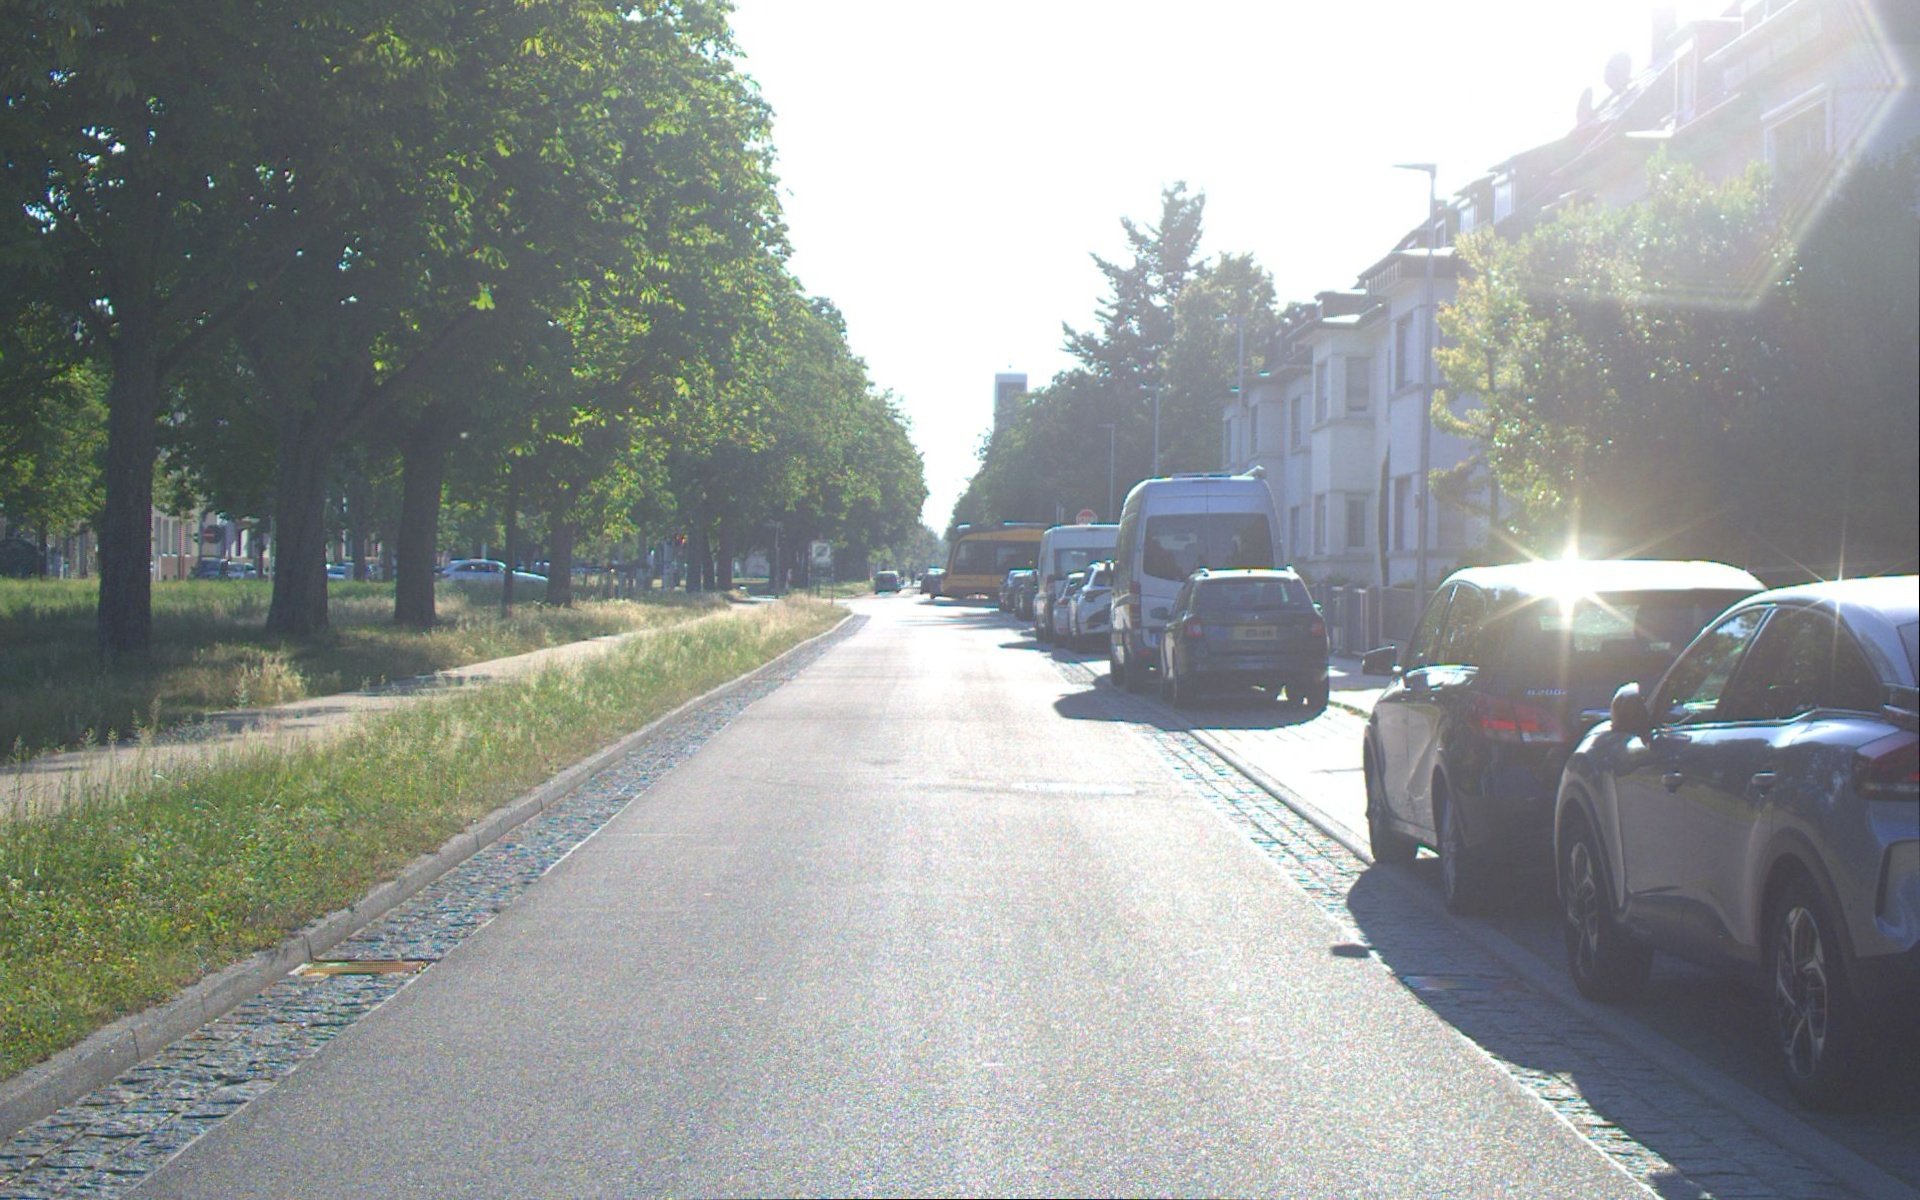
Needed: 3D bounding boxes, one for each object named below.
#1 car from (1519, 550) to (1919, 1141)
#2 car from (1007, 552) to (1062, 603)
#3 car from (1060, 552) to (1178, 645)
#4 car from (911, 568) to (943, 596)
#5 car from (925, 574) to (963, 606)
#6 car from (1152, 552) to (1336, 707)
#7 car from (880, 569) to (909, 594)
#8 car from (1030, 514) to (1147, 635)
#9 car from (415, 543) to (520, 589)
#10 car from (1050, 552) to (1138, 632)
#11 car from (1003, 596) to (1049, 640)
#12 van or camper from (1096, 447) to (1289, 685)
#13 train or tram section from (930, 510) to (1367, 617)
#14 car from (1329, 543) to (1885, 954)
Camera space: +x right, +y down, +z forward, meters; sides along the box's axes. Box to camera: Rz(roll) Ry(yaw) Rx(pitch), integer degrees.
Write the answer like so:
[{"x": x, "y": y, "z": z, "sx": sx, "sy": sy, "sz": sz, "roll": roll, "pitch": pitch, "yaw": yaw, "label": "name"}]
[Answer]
[{"x": 3.142, "y": 0.646, "z": 11.274, "sx": 1.717, "sy": 1.568, "sz": 4.210, "roll": -1, "pitch": 0, "yaw": -3, "label": "car"}, {"x": 2.289, "y": -0.689, "z": 106.308, "sx": 1.650, "sy": 1.525, "sz": 3.851, "roll": 0, "pitch": 0, "yaw": 1, "label": "car"}, {"x": 2.882, "y": -0.040, "z": 63.073, "sx": 1.837, "sy": 1.630, "sz": 4.131, "roll": 0, "pitch": 0, "yaw": -2, "label": "car"}, {"x": -2.049, "y": -1.115, "z": 212.516, "sx": 1.863, "sy": 1.591, "sz": 3.870, "roll": 3, "pitch": 0, "yaw": -1, "label": "car"}, {"x": -0.852, "y": -0.505, "z": 180.618, "sx": 1.863, "sy": 1.591, "sz": 3.894, "roll": 3, "pitch": 0, "yaw": -1, "label": "car"}, {"x": 3.072, "y": 0.302, "z": 37.900, "sx": 1.663, "sy": 1.587, "sz": 4.086, "roll": -1, "pitch": 0, "yaw": 0, "label": "car"}, {"x": -4.410, "y": -1.222, "z": 230.597, "sx": 1.863, "sy": 1.591, "sz": 3.870, "roll": 3, "pitch": 0, "yaw": -1, "label": "car"}, {"x": 2.752, "y": -0.543, "z": 74.638, "sx": 2.126, "sy": 2.524, "sz": 5.189, "roll": 0, "pitch": 0, "yaw": -2, "label": "car"}, {"x": -21.142, "y": -1.460, "z": 147.469, "sx": 4.345, "sy": 1.758, "sz": 2.000, "roll": 3, "pitch": 0, "yaw": -8, "label": "car"}, {"x": 2.631, "y": -0.173, "z": 68.027, "sx": 1.650, "sy": 1.525, "sz": 3.851, "roll": 0, "pitch": 0, "yaw": 1, "label": "car"}, {"x": 2.362, "y": 0.620, "z": 123.429, "sx": 1.650, "sy": 1.525, "sz": 3.851, "roll": 0, "pitch": 0, "yaw": 1, "label": "car"}, {"x": 2.916, "y": -0.384, "z": 44.322, "sx": 1.943, "sy": 2.768, "sz": 5.939, "roll": 3, "pitch": -1, "yaw": 0, "label": "van or camper"}, {"x": 8.660, "y": -1.667, "z": 159.218, "sx": 19.780, "sy": 3.943, "sz": 3.644, "roll": 3, "pitch": 0, "yaw": -4, "label": "train or tram section"}, {"x": 3.044, "y": 0.615, "z": 17.121, "sx": 1.832, "sy": 1.679, "sz": 4.415, "roll": 3, "pitch": 1, "yaw": 0, "label": "car"}]
